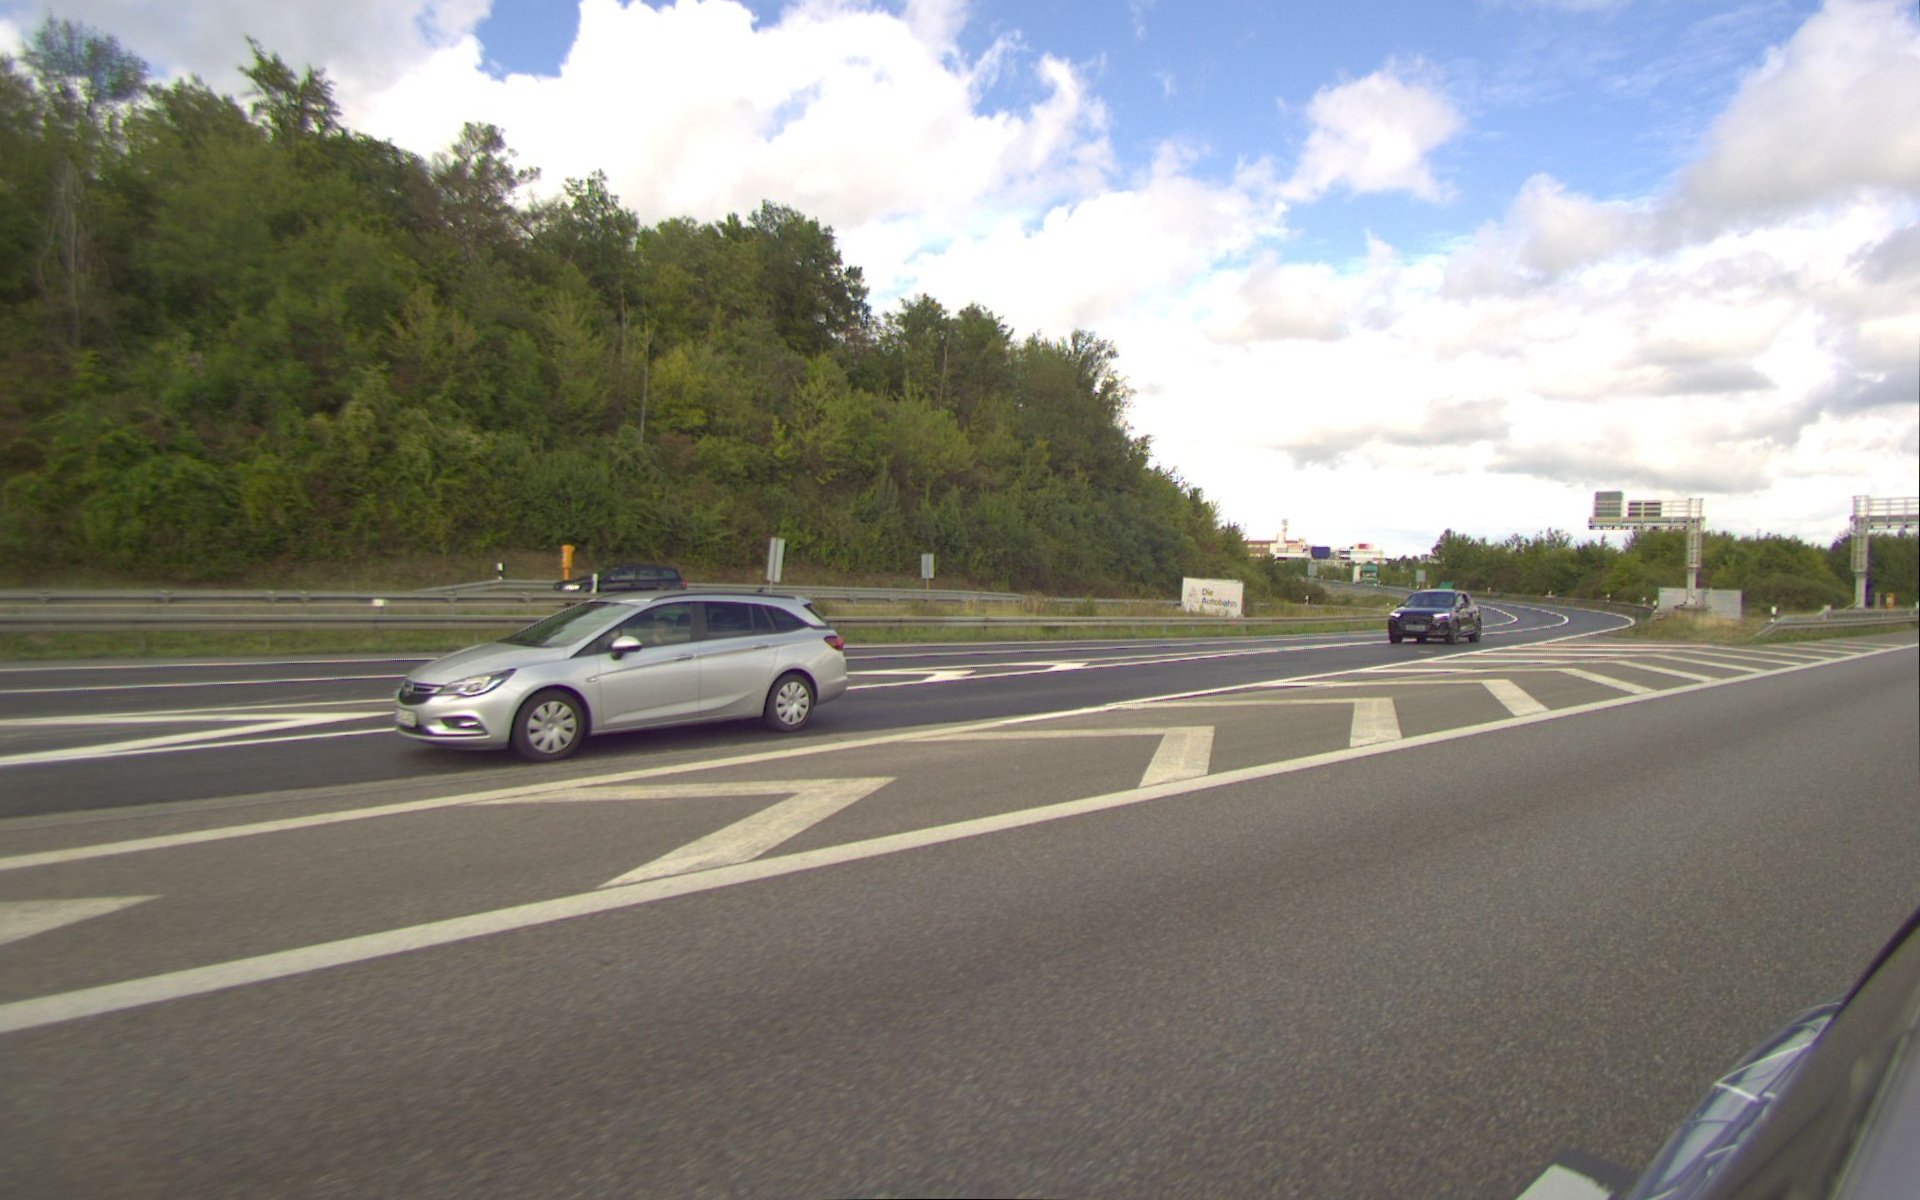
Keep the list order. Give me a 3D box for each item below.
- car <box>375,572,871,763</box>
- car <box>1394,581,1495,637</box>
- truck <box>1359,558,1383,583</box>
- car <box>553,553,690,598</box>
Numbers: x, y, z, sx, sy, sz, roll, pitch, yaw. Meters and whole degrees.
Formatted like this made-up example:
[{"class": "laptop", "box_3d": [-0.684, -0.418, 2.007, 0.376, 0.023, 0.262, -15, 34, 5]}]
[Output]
[{"class": "car", "box_3d": [-3.138, 0.501, 10.248, 1.682, 1.503, 4.546, 1, 1, 42]}, {"class": "car", "box_3d": [15.660, 0.250, 32.574, 1.868, 1.656, 4.791, 1, 1, 39]}, {"class": "truck", "box_3d": [66.816, -4.787, 164.757, 2.932, 3.845, 13.376, 1, 1, 19]}, {"class": "car", "box_3d": [-11.536, -0.824, 34.666, 1.713, 1.433, 4.101, 2, 2, 45]}]
